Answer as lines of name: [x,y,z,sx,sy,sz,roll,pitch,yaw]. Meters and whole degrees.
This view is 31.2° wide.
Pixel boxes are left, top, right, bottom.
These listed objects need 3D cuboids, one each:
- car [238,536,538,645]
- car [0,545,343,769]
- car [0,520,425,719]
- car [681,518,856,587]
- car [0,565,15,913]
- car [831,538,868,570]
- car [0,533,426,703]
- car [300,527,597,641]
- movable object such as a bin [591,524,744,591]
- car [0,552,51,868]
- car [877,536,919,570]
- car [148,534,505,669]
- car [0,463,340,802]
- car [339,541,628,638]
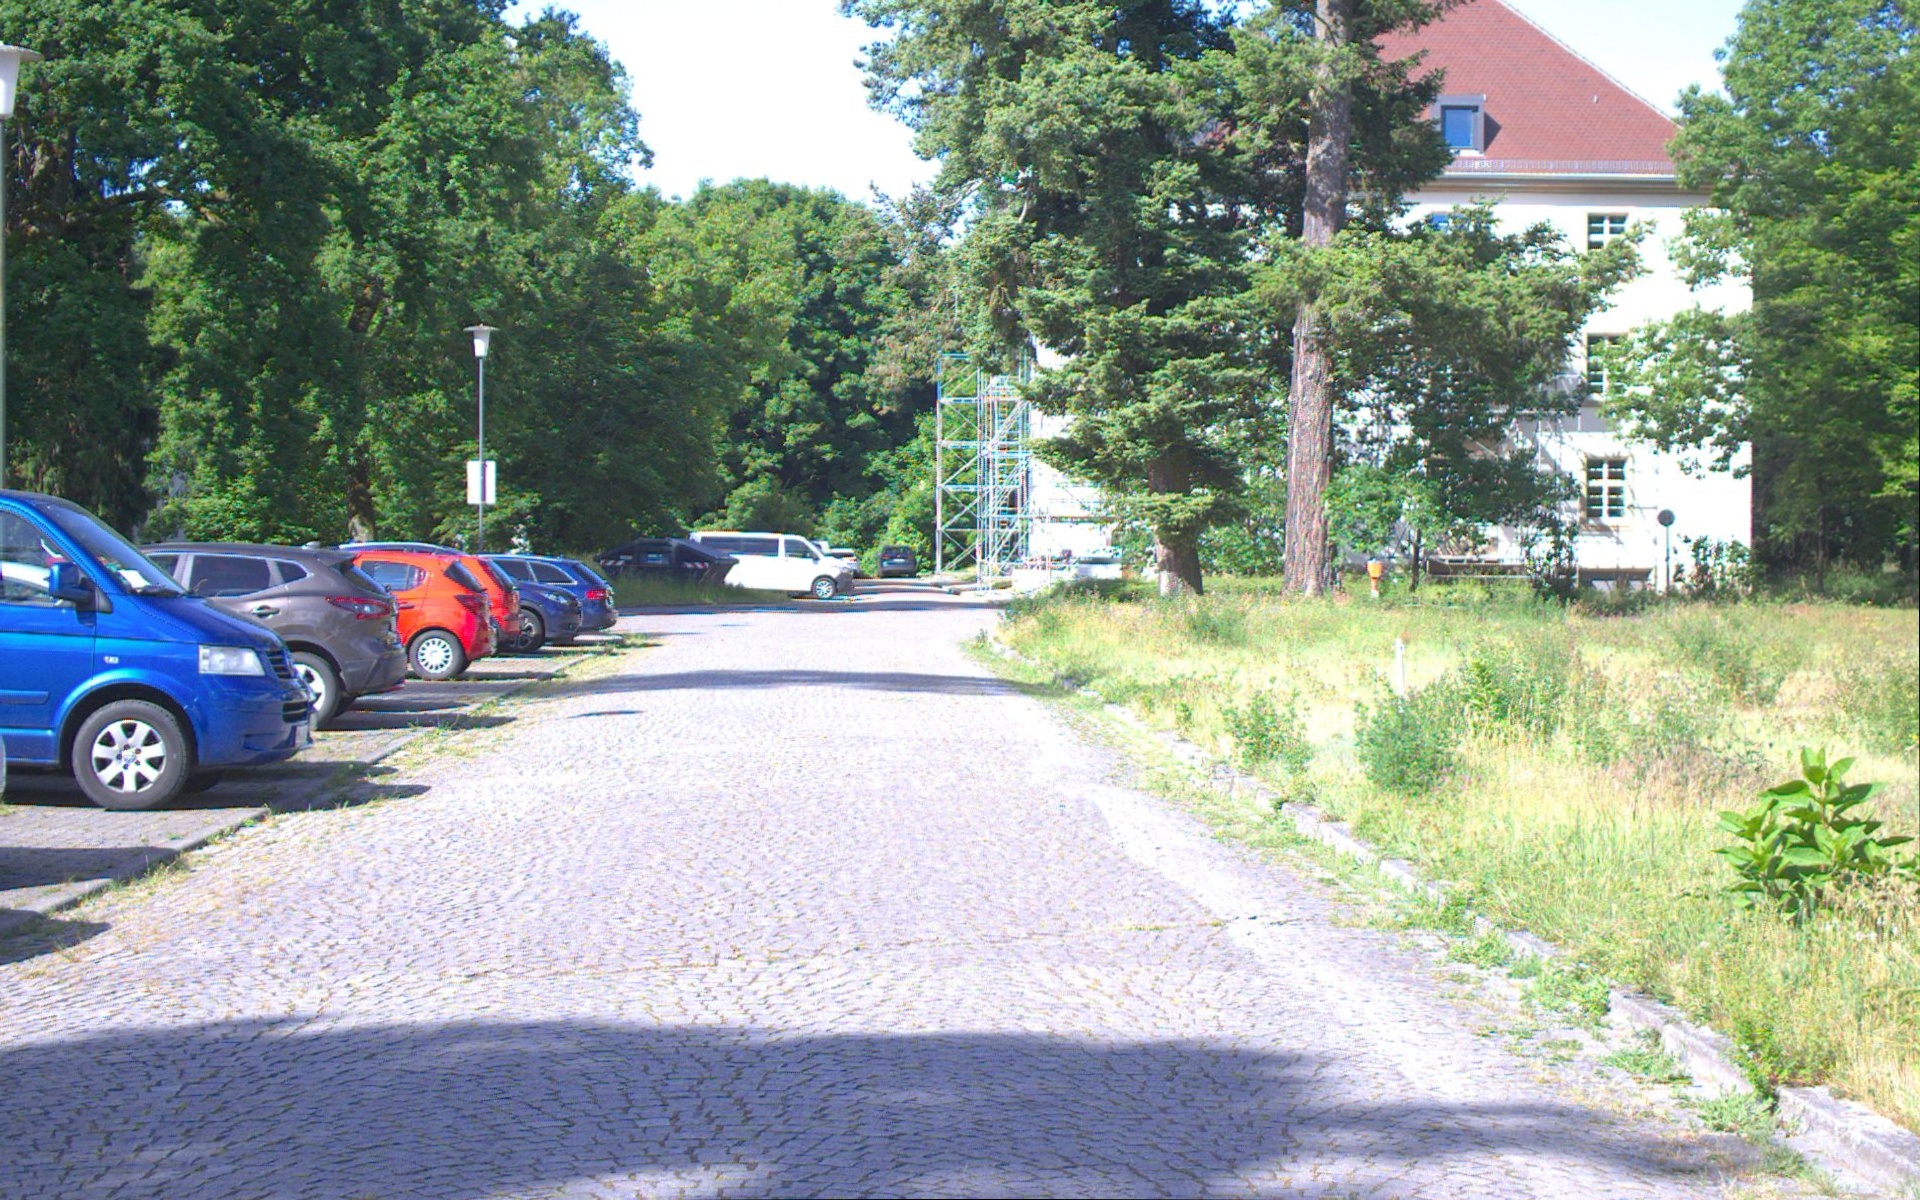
car: [-8.022,-0.147,48.461,3.923,1.428,1.842,1,1,-1]
car: [-6.326,0.354,23.957,3.815,1.435,1.683,2,1,-5]
car: [-6.815,0.143,30.277,3.953,1.562,1.974,2,2,-3]
car: [-5.798,-1.442,104.419,5.234,2.009,1.950,1,1,-2]
car: [-5.934,0.533,13.184,4.076,1.420,1.923,2,1,-1]
car: [-5.500,-2.295,170.565,1.812,1.574,4.135,0,1,-3]
car: [-7.215,0.153,32.998,3.922,1.444,1.867,2,1,-3]
car: [-7.529,-0.256,50.872,4.135,1.574,1.885,1,1,-2]
movable object such as a bin: [-7.755,-1.125,91.349,3.568,1.738,2.023,0,1,17]
car: [-6.584,0.467,16.046,4.196,1.470,1.824,2,1,-2]
car: [-3.107,-2.351,170.939,1.971,1.662,4.087,0,1,-3]
car: [-7.426,0.003,40.588,3.922,1.456,1.842,1,1,-3]
car: [-6.393,0.131,21.339,4.717,1.961,2.006,2,1,-2]
car: [-7.660,-0.183,55.556,4.360,1.440,1.921,1,1,1]
